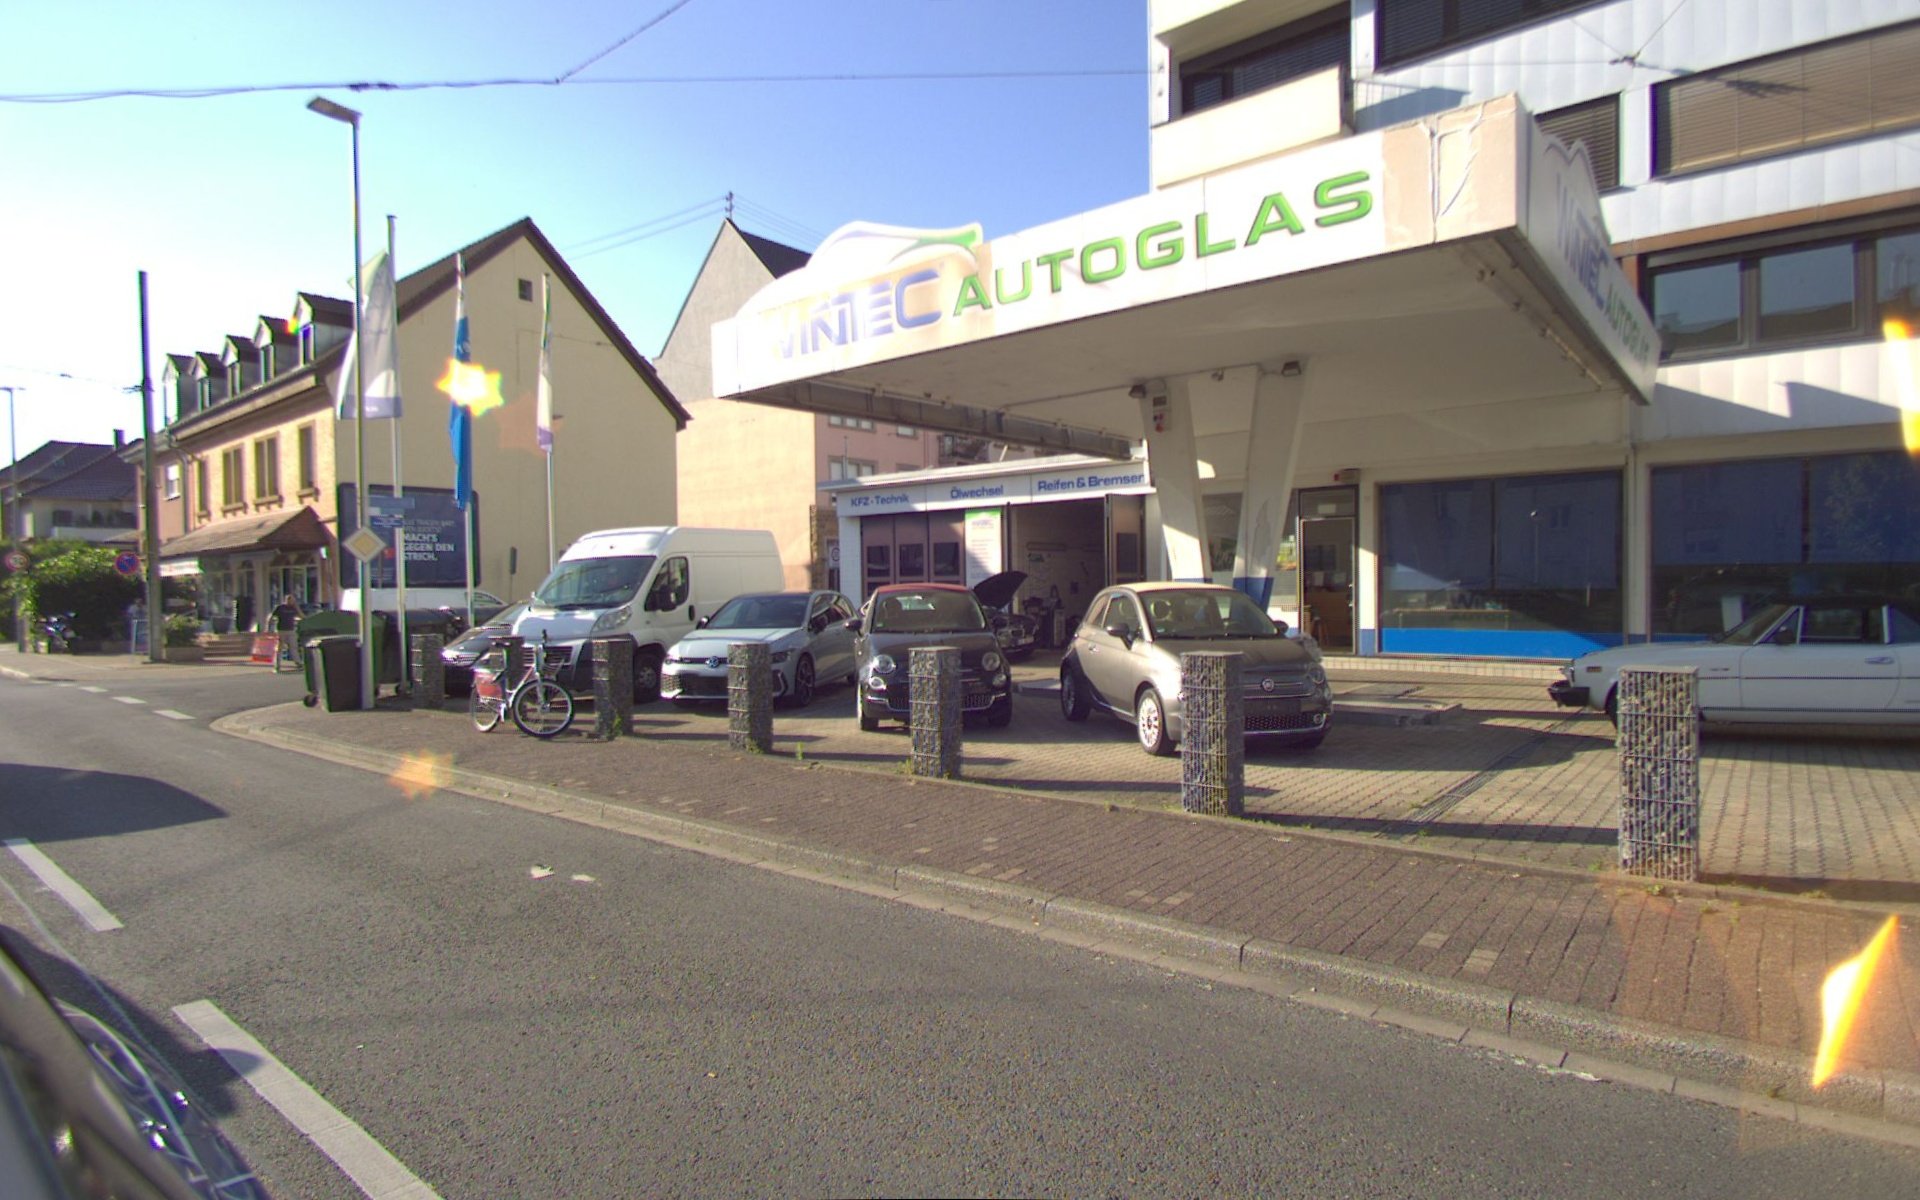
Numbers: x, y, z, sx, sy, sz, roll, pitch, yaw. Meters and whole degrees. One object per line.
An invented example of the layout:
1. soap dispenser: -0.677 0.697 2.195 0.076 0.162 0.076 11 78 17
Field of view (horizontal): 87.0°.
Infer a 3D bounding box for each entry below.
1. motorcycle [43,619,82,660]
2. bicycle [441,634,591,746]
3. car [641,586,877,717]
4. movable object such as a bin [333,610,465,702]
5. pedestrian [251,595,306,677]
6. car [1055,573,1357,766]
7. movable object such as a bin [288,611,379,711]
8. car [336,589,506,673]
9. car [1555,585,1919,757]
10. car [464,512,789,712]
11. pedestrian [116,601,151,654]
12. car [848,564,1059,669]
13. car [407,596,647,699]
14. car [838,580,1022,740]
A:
1. motorcycle: -27.967 1.207 31.528 2.186 1.226 0.699 -1 0 43
2. bicycle: -4.896 0.945 11.120 1.789 1.094 0.716 -1 1 37
3. car: -2.532 0.592 13.803 1.725 1.508 4.016 -1 0 12
4. movable object such as a bin: -9.577 0.918 17.368 1.039 1.475 1.787 -1 0 15
5. pedestrian: -15.996 0.828 23.766 0.764 1.866 0.815 -1 0 30
6. car: 2.152 0.539 9.792 1.517 1.497 3.381 -1 0 -11
7. movable object such as a bin: -9.707 0.920 15.712 1.030 1.475 0.798 -1 0 -18
8. car: -13.893 0.742 26.251 1.449 2.029 3.628 -1 0 37
9. car: 7.384 0.546 8.569 3.898 1.308 1.506 -1 -1 37
10. car: -4.688 0.135 15.222 2.098 2.472 4.963 -1 0 18
11. pedestrian: -27.310 0.898 33.443 0.796 1.726 0.862 -1 0 -33
12. car: -0.207 0.324 20.918 4.255 1.958 1.720 -1 0 40
13. car: -7.063 0.707 17.007 1.725 1.488 4.016 -1 0 12
14. car: -0.484 0.568 11.507 1.569 1.508 3.443 -1 0 -10
